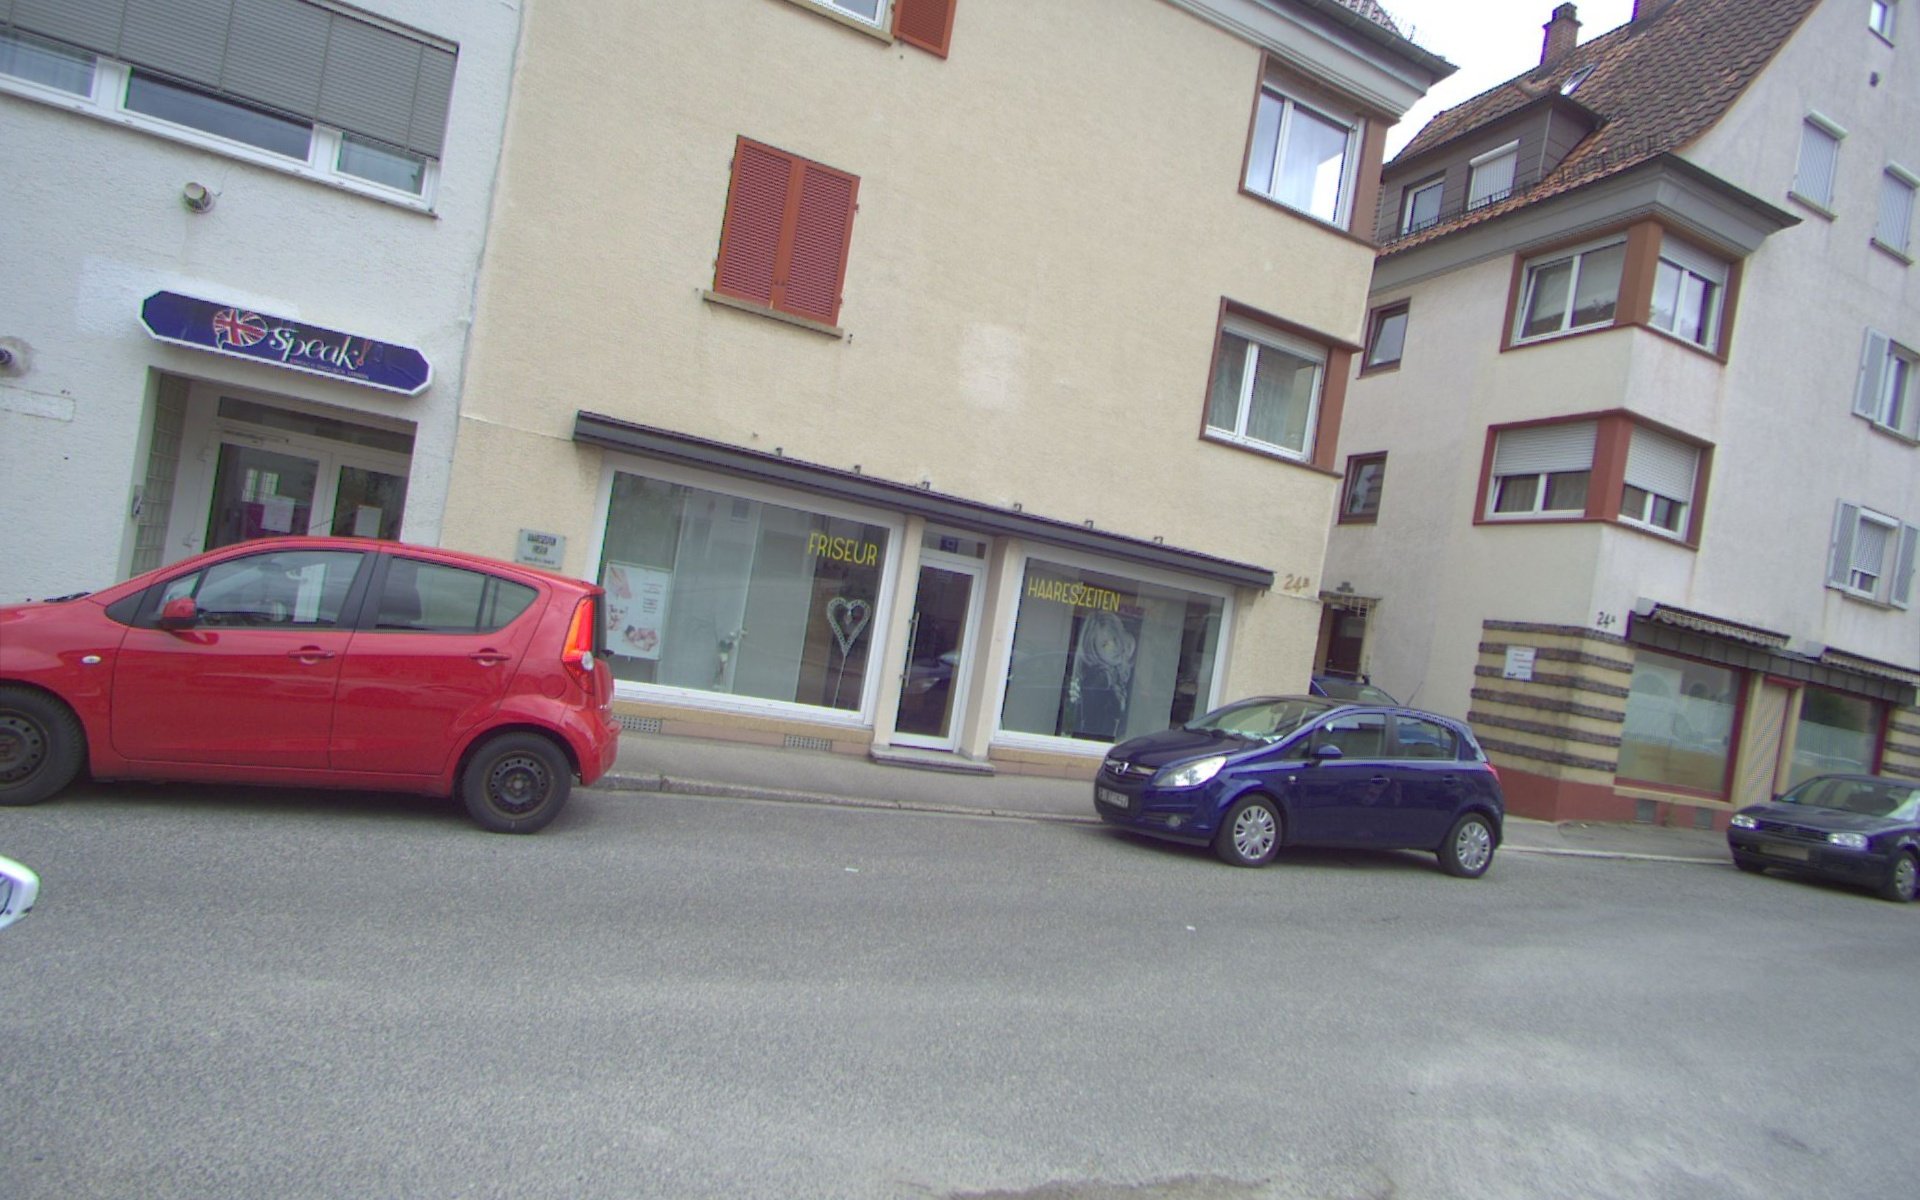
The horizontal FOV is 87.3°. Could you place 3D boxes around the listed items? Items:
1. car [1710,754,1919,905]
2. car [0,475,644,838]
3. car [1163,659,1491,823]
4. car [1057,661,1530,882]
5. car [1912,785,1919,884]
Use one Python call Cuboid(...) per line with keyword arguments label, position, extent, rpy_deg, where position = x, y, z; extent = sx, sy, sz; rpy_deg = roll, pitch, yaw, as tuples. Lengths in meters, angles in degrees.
Cuboid(label="car", position=(11.764, 2.983, 12.928), extent=(3.954, 1.419, 1.688), rpy_deg=(9, -3, -25))
Cuboid(label="car", position=(-3.953, 0.355, 6.035), extent=(3.648, 1.573, 1.690), rpy_deg=(9, -3, -22))
Cuboid(label="car", position=(5.463, 2.058, 15.803), extent=(1.928, 1.885, 4.883), rpy_deg=(8, -4, -22))
Cuboid(label="car", position=(3.046, 1.555, 9.173), extent=(3.870, 1.465, 1.690), rpy_deg=(9, -4, -23))
Cuboid(label="car", position=(16.186, 3.692, 14.755), extent=(4.051, 1.465, 1.690), rpy_deg=(9, -4, -23))
